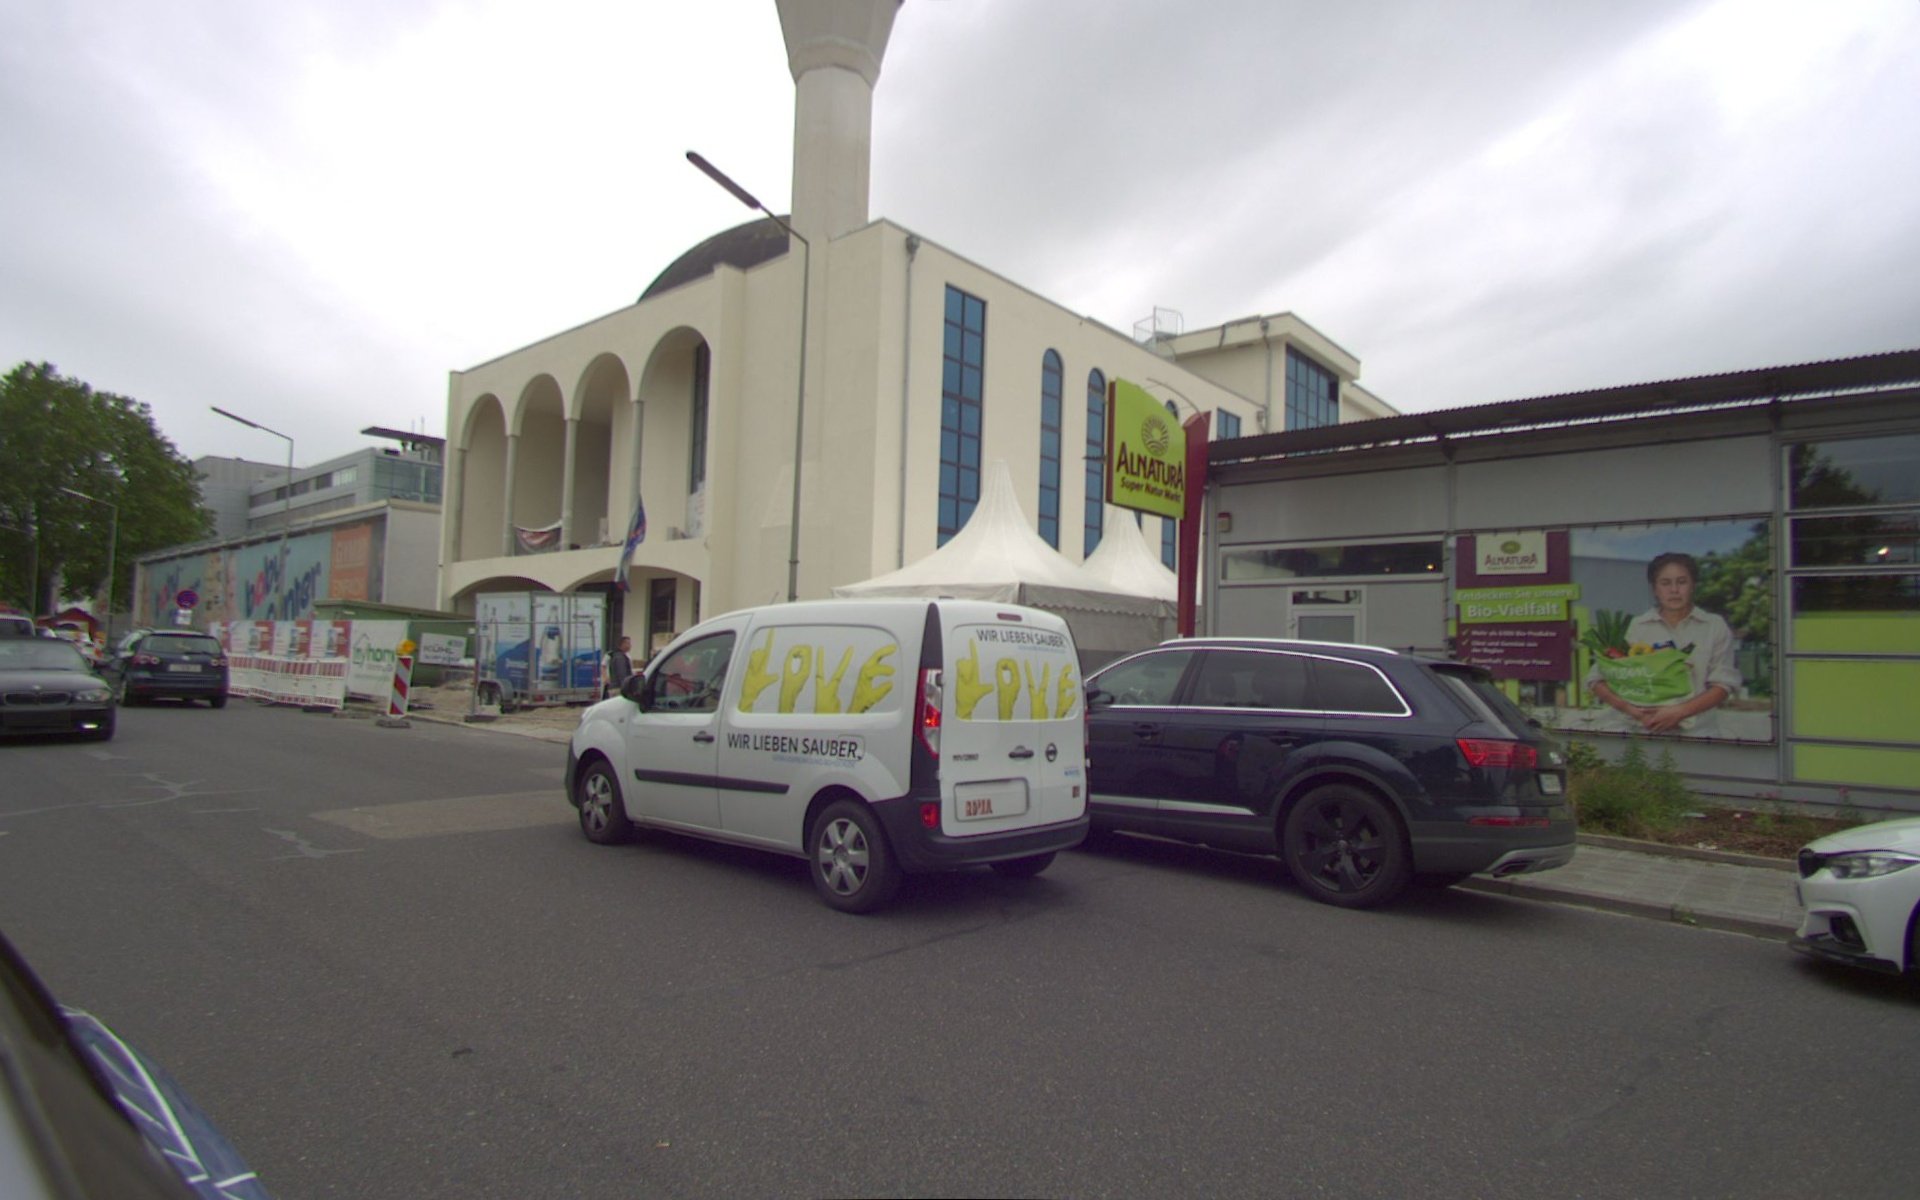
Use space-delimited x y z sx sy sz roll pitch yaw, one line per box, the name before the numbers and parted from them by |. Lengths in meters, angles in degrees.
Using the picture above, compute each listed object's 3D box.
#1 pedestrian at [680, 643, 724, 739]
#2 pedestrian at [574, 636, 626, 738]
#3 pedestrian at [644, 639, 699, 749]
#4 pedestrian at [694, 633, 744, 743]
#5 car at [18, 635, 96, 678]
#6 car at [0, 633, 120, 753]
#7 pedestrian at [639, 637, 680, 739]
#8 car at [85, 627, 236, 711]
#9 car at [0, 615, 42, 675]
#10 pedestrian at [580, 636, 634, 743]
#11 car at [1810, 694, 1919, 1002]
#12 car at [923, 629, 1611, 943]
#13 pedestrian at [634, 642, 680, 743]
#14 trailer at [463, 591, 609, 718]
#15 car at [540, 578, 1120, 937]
pedestrian | -4.481 1.564 17.575 0.532 1.624 0.491 3 -3 -43
pedestrian | -6.354 1.530 17.893 0.681 1.763 0.491 2 -4 -4
pedestrian | -4.397 1.432 15.444 0.535 1.624 0.489 2 -5 13
pedestrian | -3.939 1.427 16.576 0.685 1.731 0.688 -2 -3 -5
car | -38.678 2.398 43.304 4.148 1.586 1.904 -2 -8 42
car | -12.769 1.153 13.538 4.136 1.369 1.727 -1 -2 42
pedestrian | -5.323 1.552 17.947 0.520 1.763 0.491 2 -4 -4
car | -16.842 1.415 21.263 3.945 1.584 1.711 -1 -6 41
car | -34.801 1.551 36.476 4.954 2.029 1.906 -1 -4 42
pedestrian | -5.972 1.513 17.150 0.681 1.763 0.491 2 -4 -4
car | 6.368 1.231 4.056 4.515 1.378 1.681 -1 -9 41
car | 2.092 1.168 7.824 4.728 1.704 1.845 -2 -8 42
pedestrian | -5.016 1.518 16.765 0.563 1.624 0.491 2 -4 -4
trailer | -9.530 1.217 22.679 3.192 2.627 1.778 -2 -5 44
car | -1.105 0.874 7.044 4.133 1.774 1.671 -2 -5 42
